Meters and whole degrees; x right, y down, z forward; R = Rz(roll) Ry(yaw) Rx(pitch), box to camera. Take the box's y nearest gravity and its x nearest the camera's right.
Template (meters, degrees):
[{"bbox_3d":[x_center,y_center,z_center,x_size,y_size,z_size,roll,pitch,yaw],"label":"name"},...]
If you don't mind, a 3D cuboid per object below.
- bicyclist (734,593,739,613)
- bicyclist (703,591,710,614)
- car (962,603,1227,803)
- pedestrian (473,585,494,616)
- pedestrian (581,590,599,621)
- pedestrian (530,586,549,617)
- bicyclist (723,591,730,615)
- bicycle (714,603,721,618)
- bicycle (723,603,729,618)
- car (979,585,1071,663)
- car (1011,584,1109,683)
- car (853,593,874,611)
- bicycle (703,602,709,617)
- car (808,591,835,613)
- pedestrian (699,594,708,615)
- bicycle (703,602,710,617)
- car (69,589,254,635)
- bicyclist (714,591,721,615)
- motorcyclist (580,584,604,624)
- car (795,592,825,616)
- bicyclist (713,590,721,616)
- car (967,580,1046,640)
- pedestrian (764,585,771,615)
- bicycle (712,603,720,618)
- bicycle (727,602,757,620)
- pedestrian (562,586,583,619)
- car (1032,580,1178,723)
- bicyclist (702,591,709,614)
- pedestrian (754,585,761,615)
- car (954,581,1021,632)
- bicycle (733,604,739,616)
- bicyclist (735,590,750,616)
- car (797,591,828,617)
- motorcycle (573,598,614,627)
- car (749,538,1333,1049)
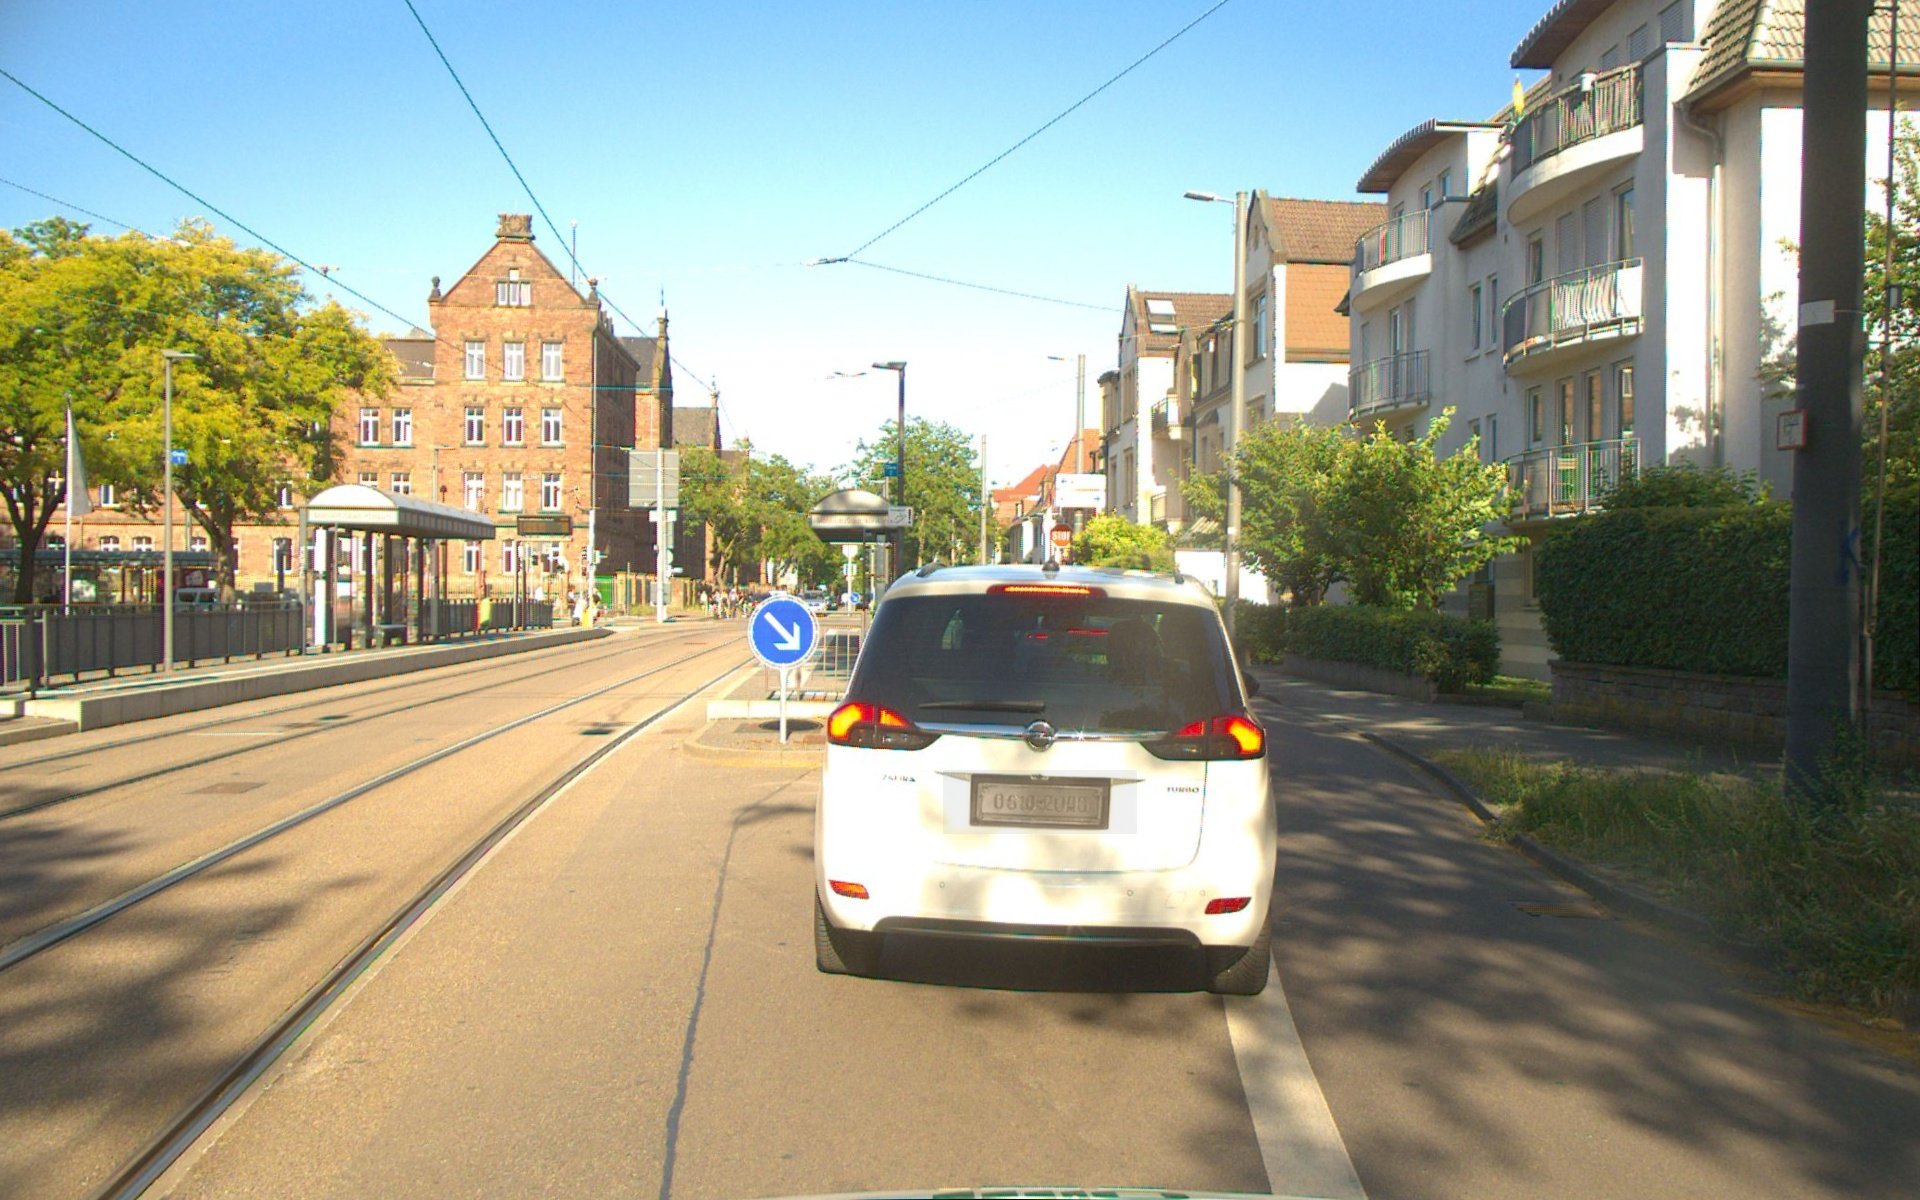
[{"bbox_3d":[-15.063,0.198,111.427,0.352,1.326,0.397,0,0,-4],"label":"bicyclist"},{"bbox_3d":[-17.335,0.179,112.996,0.435,1.580,0.495,0,0,-4],"label":"bicyclist"},{"bbox_3d":[1.029,0.748,13.988,1.912,1.422,4.001,0,0,1],"label":"car"},{"bbox_3d":[-25.318,0.022,87.933,0.913,1.616,0.804,1,-1,-5],"label":"pedestrian"},{"bbox_3d":[-21.330,0.316,95.417,0.719,1.744,0.706,1,-1,22],"label":"pedestrian"},{"bbox_3d":[-22.418,0.074,88.264,0.786,1.616,0.934,1,0,-3],"label":"pedestrian"},{"bbox_3d":[-15.386,0.197,108.914,0.435,1.580,0.495,0,0,-4],"label":"bicyclist"},{"bbox_3d":[-15.615,0.657,106.369,0.337,0.966,0.996,1,0,-4],"label":"bicycle"},{"bbox_3d":[-15.397,0.672,108.921,0.337,0.966,0.996,1,0,-4],"label":"bicycle"},{"bbox_3d":[1.377,0.493,36.195,1.793,1.607,4.009,0,0,-1],"label":"car"},{"bbox_3d":[1.711,0.551,29.275,1.603,1.629,3.855,0,0,1],"label":"car"},{"bbox_3d":[-8.817,0.155,150.985,1.954,1.657,3.997,0,0,-4],"label":"car"},{"bbox_3d":[-17.659,0.658,114.862,0.337,0.966,0.996,1,0,-4],"label":"bicycle"},{"bbox_3d":[-10.945,0.141,130.487,1.953,1.657,3.998,0,0,-3],"label":"car"},{"bbox_3d":[-21.340,0.352,137.612,0.720,1.744,0.753,1,-1,-6],"label":"pedestrian"},{"bbox_3d":[-17.320,0.656,113.037,0.337,0.966,0.996,1,0,-4],"label":"bicycle"},{"bbox_3d":[-35.728,0.524,74.194,6.810,1.954,2.991,0,0,-2],"label":"car"},{"bbox_3d":[-15.578,0.183,106.327,0.435,1.580,0.495,0,0,-4],"label":"bicyclist"},{"bbox_3d":[-15.391,0.174,69.094,0.601,1.650,0.844,0,0,22],"label":"motorcyclist"},{"bbox_3d":[-10.354,0.260,114.257,1.955,1.657,3.996,0,0,-5],"label":"car"},{"bbox_3d":[-15.157,0.175,103.051,0.435,1.580,0.742,0,0,-4],"label":"bicyclist"},{"bbox_3d":[1.197,0.258,44.316,1.953,1.529,3.999,0,0,-1],"label":"car"},{"bbox_3d":[-13.049,0.016,112.057,0.435,2.049,0.495,0,0,-4],"label":"pedestrian"},{"bbox_3d":[-15.166,0.650,102.843,0.337,0.966,1.159,1,0,-4],"label":"bicycle"},{"bbox_3d":[-12.338,0.626,93.734,1.635,0.969,0.529,0,0,2],"label":"bicycle"},{"bbox_3d":[-20.678,0.133,88.233,0.825,1.721,1.029,1,0,-1],"label":"pedestrian"},{"bbox_3d":[1.739,0.585,20.847,1.603,1.629,3.855,0,0,1],"label":"car"},{"bbox_3d":[-17.652,0.182,114.826,0.435,1.580,0.495,0,0,-4],"label":"bicyclist"},{"bbox_3d":[-13.650,0.005,111.727,0.435,2.049,0.495,0,0,-4],"label":"pedestrian"},{"bbox_3d":[0.827,0.192,51.772,1.953,1.529,3.999,0,0,-1],"label":"car"},{"bbox_3d":[-15.065,0.671,111.429,0.337,0.737,0.996,1,0,-4],"label":"bicycle"},{"bbox_3d":[-12.353,0.182,93.749,0.743,1.455,0.516,1,-1,2],"label":"bicyclist"},{"bbox_3d":[-9.550,0.244,107.163,1.955,1.657,3.996,0,0,-5],"label":"car"},{"bbox_3d":[-15.344,0.512,69.248,0.599,1.219,2.075,0,0,22],"label":"motorcycle"},{"bbox_3d":[0.455,0.648,7.601,1.951,1.673,3.996,1,0,6],"label":"car"}]
